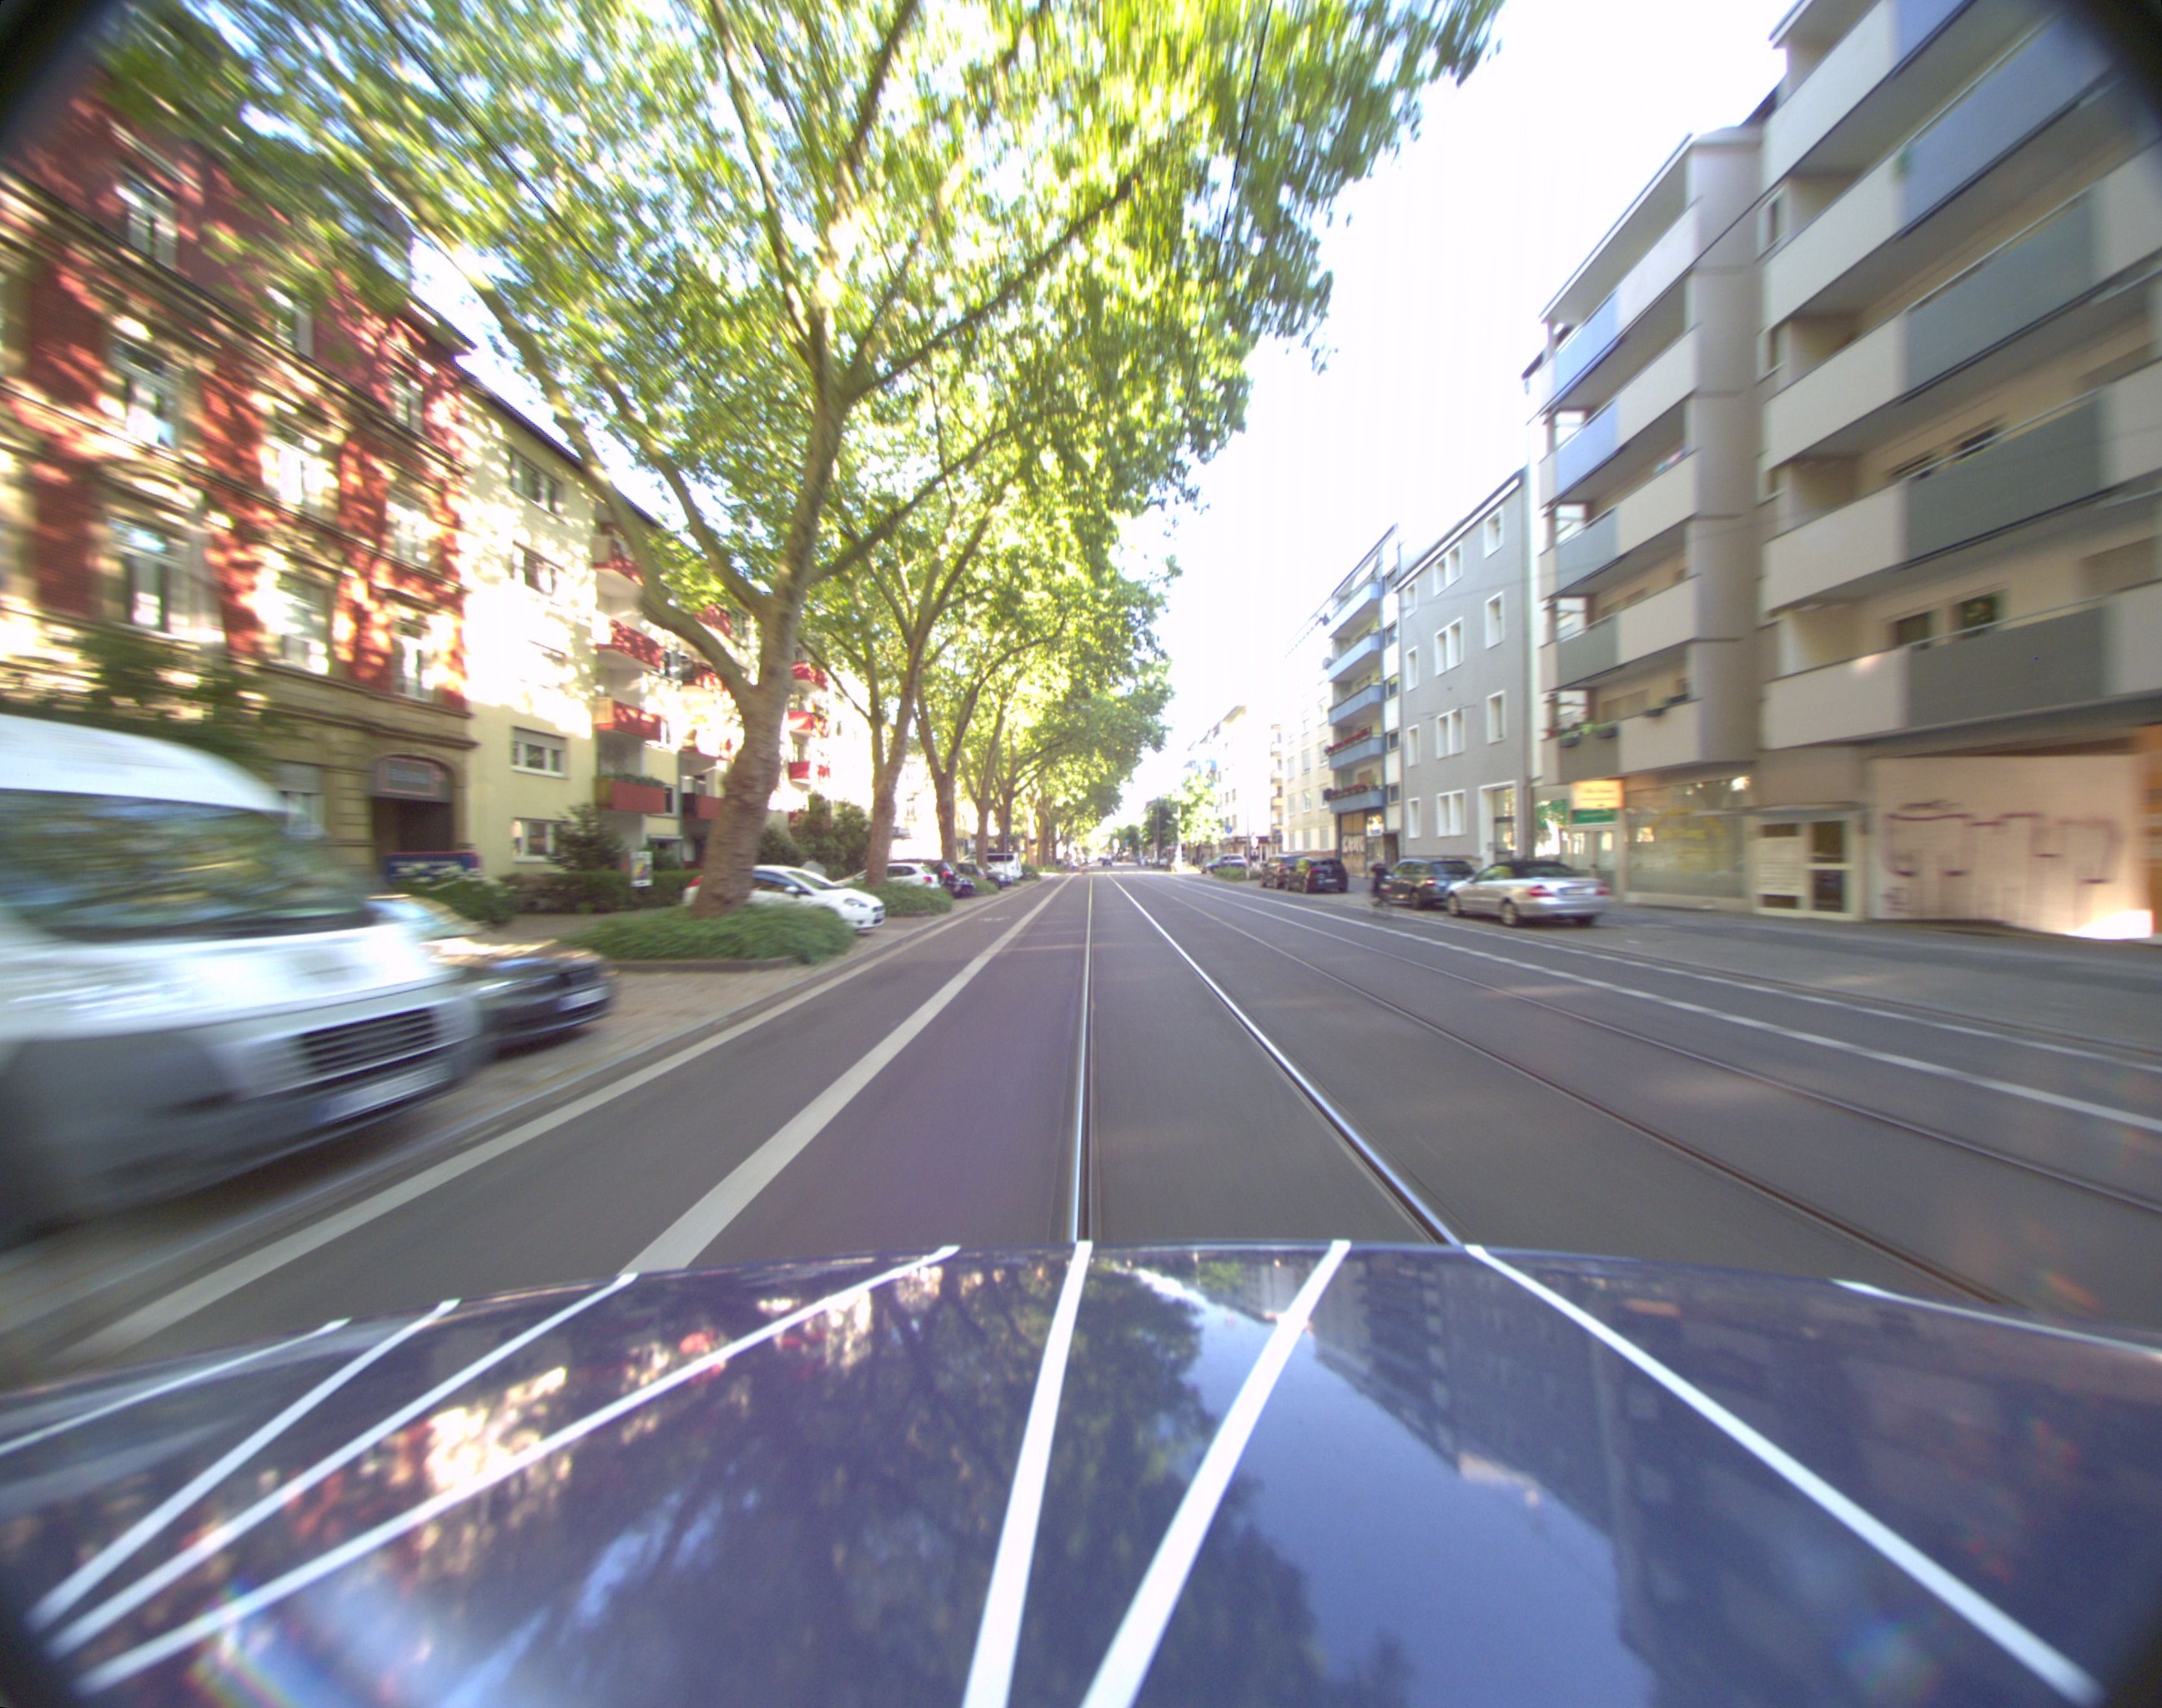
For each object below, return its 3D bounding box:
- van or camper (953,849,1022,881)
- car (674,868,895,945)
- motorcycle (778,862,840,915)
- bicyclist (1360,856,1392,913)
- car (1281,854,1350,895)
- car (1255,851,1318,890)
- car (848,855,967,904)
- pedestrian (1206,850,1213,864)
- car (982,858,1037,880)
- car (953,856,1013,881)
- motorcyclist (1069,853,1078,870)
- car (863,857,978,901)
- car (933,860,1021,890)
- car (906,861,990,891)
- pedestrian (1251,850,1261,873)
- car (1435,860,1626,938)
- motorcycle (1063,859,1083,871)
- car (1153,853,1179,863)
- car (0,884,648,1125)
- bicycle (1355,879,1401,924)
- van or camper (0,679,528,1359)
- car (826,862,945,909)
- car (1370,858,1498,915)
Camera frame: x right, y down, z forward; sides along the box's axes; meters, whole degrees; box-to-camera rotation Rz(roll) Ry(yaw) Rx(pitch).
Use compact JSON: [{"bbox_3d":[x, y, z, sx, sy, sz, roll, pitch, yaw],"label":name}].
[{"bbox_3d":[-6.167,0.711,50.599,4.388,2.097,1.838,0,1,-2],"label":"van or camper"},{"bbox_3d":[-6.059,1.051,15.870,3.964,1.471,1.688,0,0,-2],"label":"car"},{"bbox_3d":[-8.307,1.010,23.371,0.842,1.470,2.818,0,0,1],"label":"motorcycle"},{"bbox_3d":[7.386,0.746,19.047,0.510,1.386,0.709,1,1,1],"label":"bicyclist"},{"bbox_3d":[10.098,0.846,33.053,1.660,1.591,4.202,-2,0,0],"label":"car"},{"bbox_3d":[10.176,0.768,37.966,1.784,1.728,4.489,-2,0,-1],"label":"car"},{"bbox_3d":[-6.424,0.933,28.423,4.003,1.734,1.805,-1,0,1],"label":"car"},{"bbox_3d":[13.883,0.275,82.221,0.596,1.496,0.655,-2,1,1],"label":"pedestrian"},{"bbox_3d":[-4.985,1.037,53.108,3.570,1.431,1.727,-1,1,4],"label":"car"},{"bbox_3d":[-6.150,0.897,47.929,3.572,1.522,1.677,-1,0,-1],"label":"car"},{"bbox_3d":[-0.745,0.692,72.503,0.756,1.609,0.588,-1,1,-6],"label":"motorcyclist"},{"bbox_3d":[-6.440,0.988,30.862,4.302,1.643,1.743,-1,0,-2],"label":"car"},{"bbox_3d":[-5.338,1.077,39.345,4.206,1.473,1.912,0,0,2],"label":"car"},{"bbox_3d":[-6.443,1.057,37.117,3.837,1.435,1.699,0,1,-3],"label":"car"},{"bbox_3d":[14.695,0.616,63.806,0.773,1.888,0.799,-2,1,9],"label":"pedestrian"},{"bbox_3d":[9.993,0.918,17.403,1.693,1.482,4.728,-1,0,2],"label":"car"},{"bbox_3d":[-0.733,1.083,72.507,1.832,1.112,0.590,-1,1,-7],"label":"motorcycle"},{"bbox_3d":[12.946,0.653,115.651,3.953,1.515,1.587,-1,0,5],"label":"car"},{"bbox_3d":[-6.459,1.163,6.505,4.399,1.543,1.783,-3,0,0],"label":"car"},{"bbox_3d":[7.415,1.160,19.040,0.418,1.012,1.947,1,0,1],"label":"bicycle"},{"bbox_3d":[-6.597,0.624,3.833,6.048,2.476,2.107,0,1,0],"label":"van or camper"},{"bbox_3d":[-6.605,1.040,25.928,3.618,1.486,1.660,-1,0,-1],"label":"car"},{"bbox_3d":[10.206,0.876,22.356,1.798,1.482,4.240,-1,0,0],"label":"car"}]
